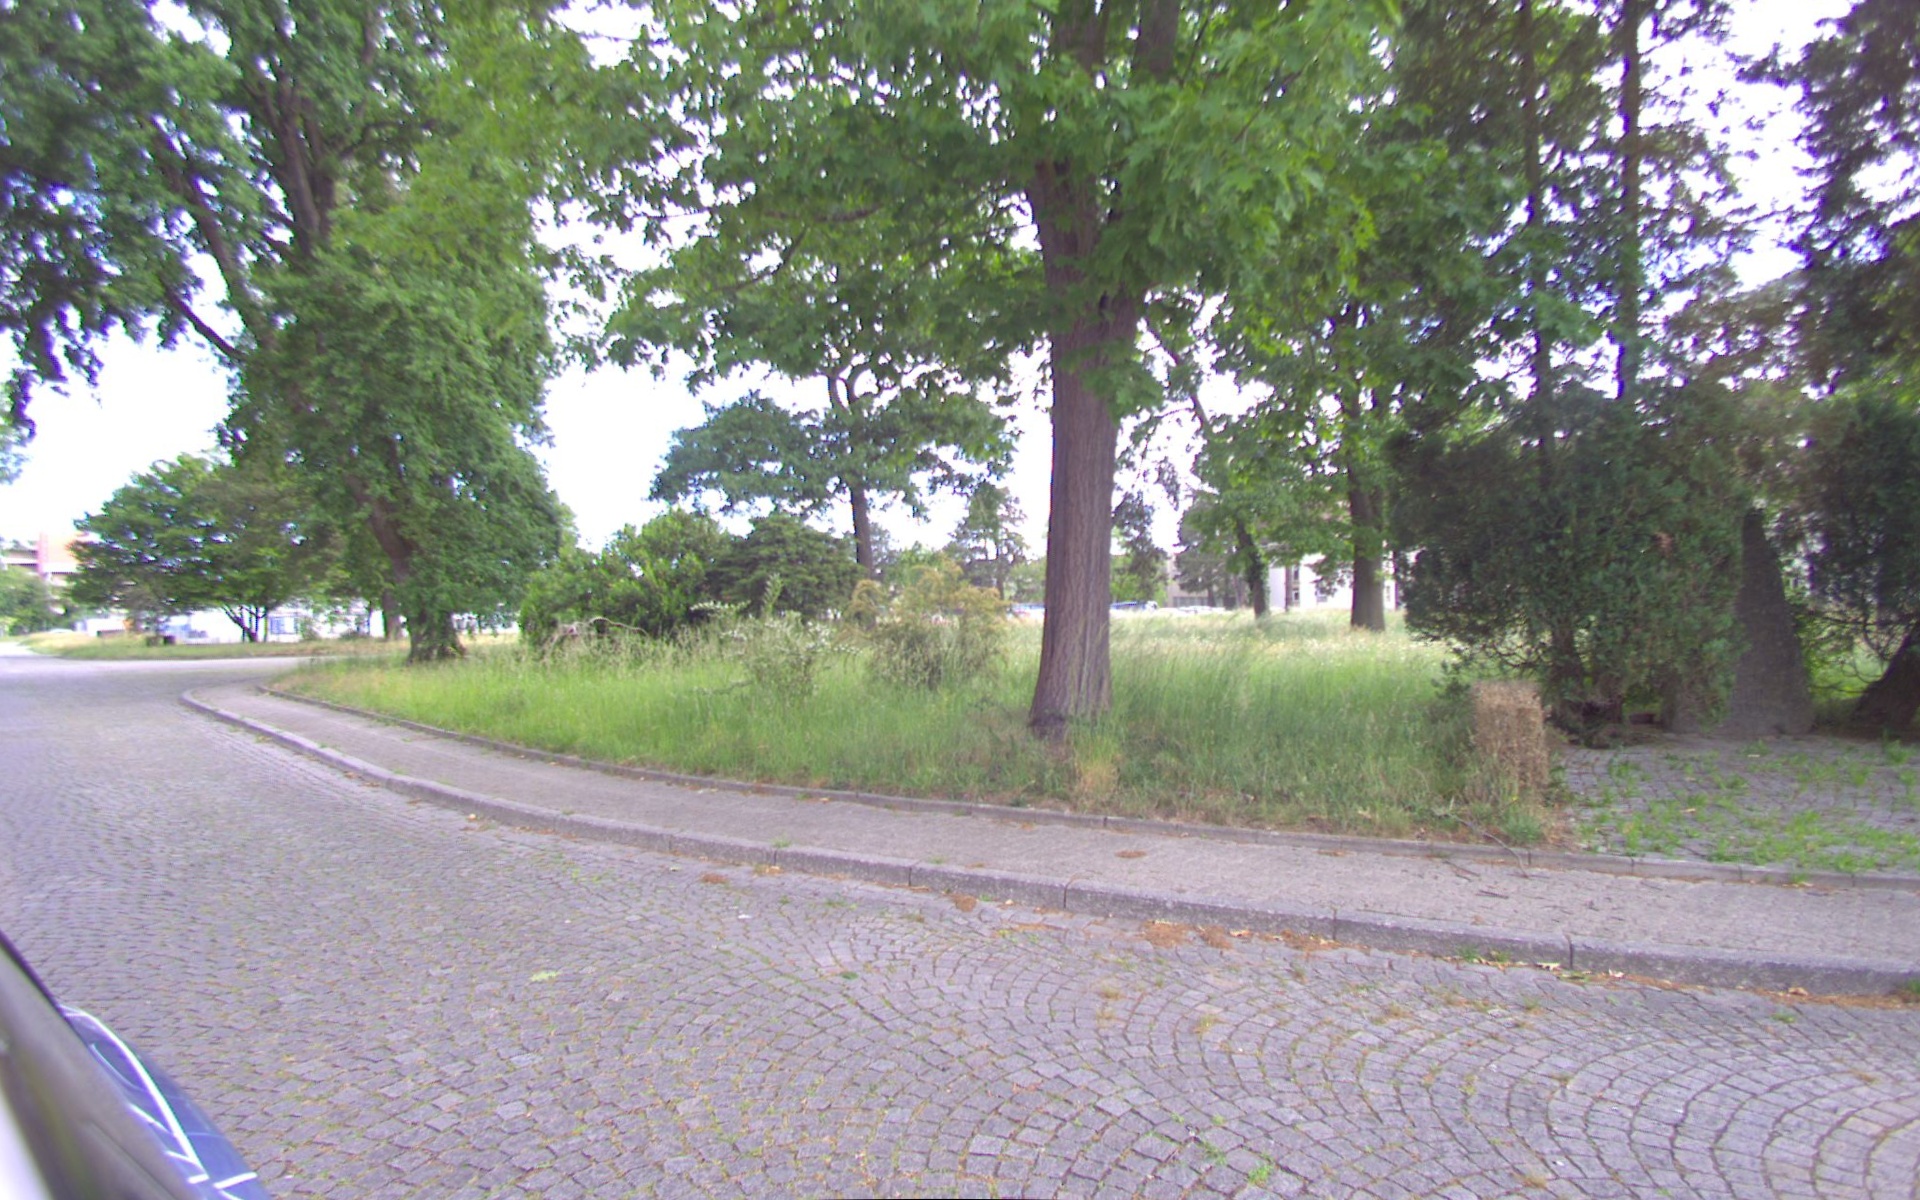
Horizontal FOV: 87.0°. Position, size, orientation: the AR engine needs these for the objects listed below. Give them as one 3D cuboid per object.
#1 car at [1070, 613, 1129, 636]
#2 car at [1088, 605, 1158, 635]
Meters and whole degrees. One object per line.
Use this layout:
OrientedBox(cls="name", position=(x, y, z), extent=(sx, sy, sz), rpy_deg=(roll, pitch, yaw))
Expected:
OrientedBox(cls="car", position=(9.377, 1.667, 68.249), extent=(3.696, 1.349, 1.561), rpy_deg=(-4, -3, 45))
OrientedBox(cls="car", position=(11.223, 1.393, 69.913), extent=(4.547, 1.916, 1.767), rpy_deg=(-4, -3, 45))
